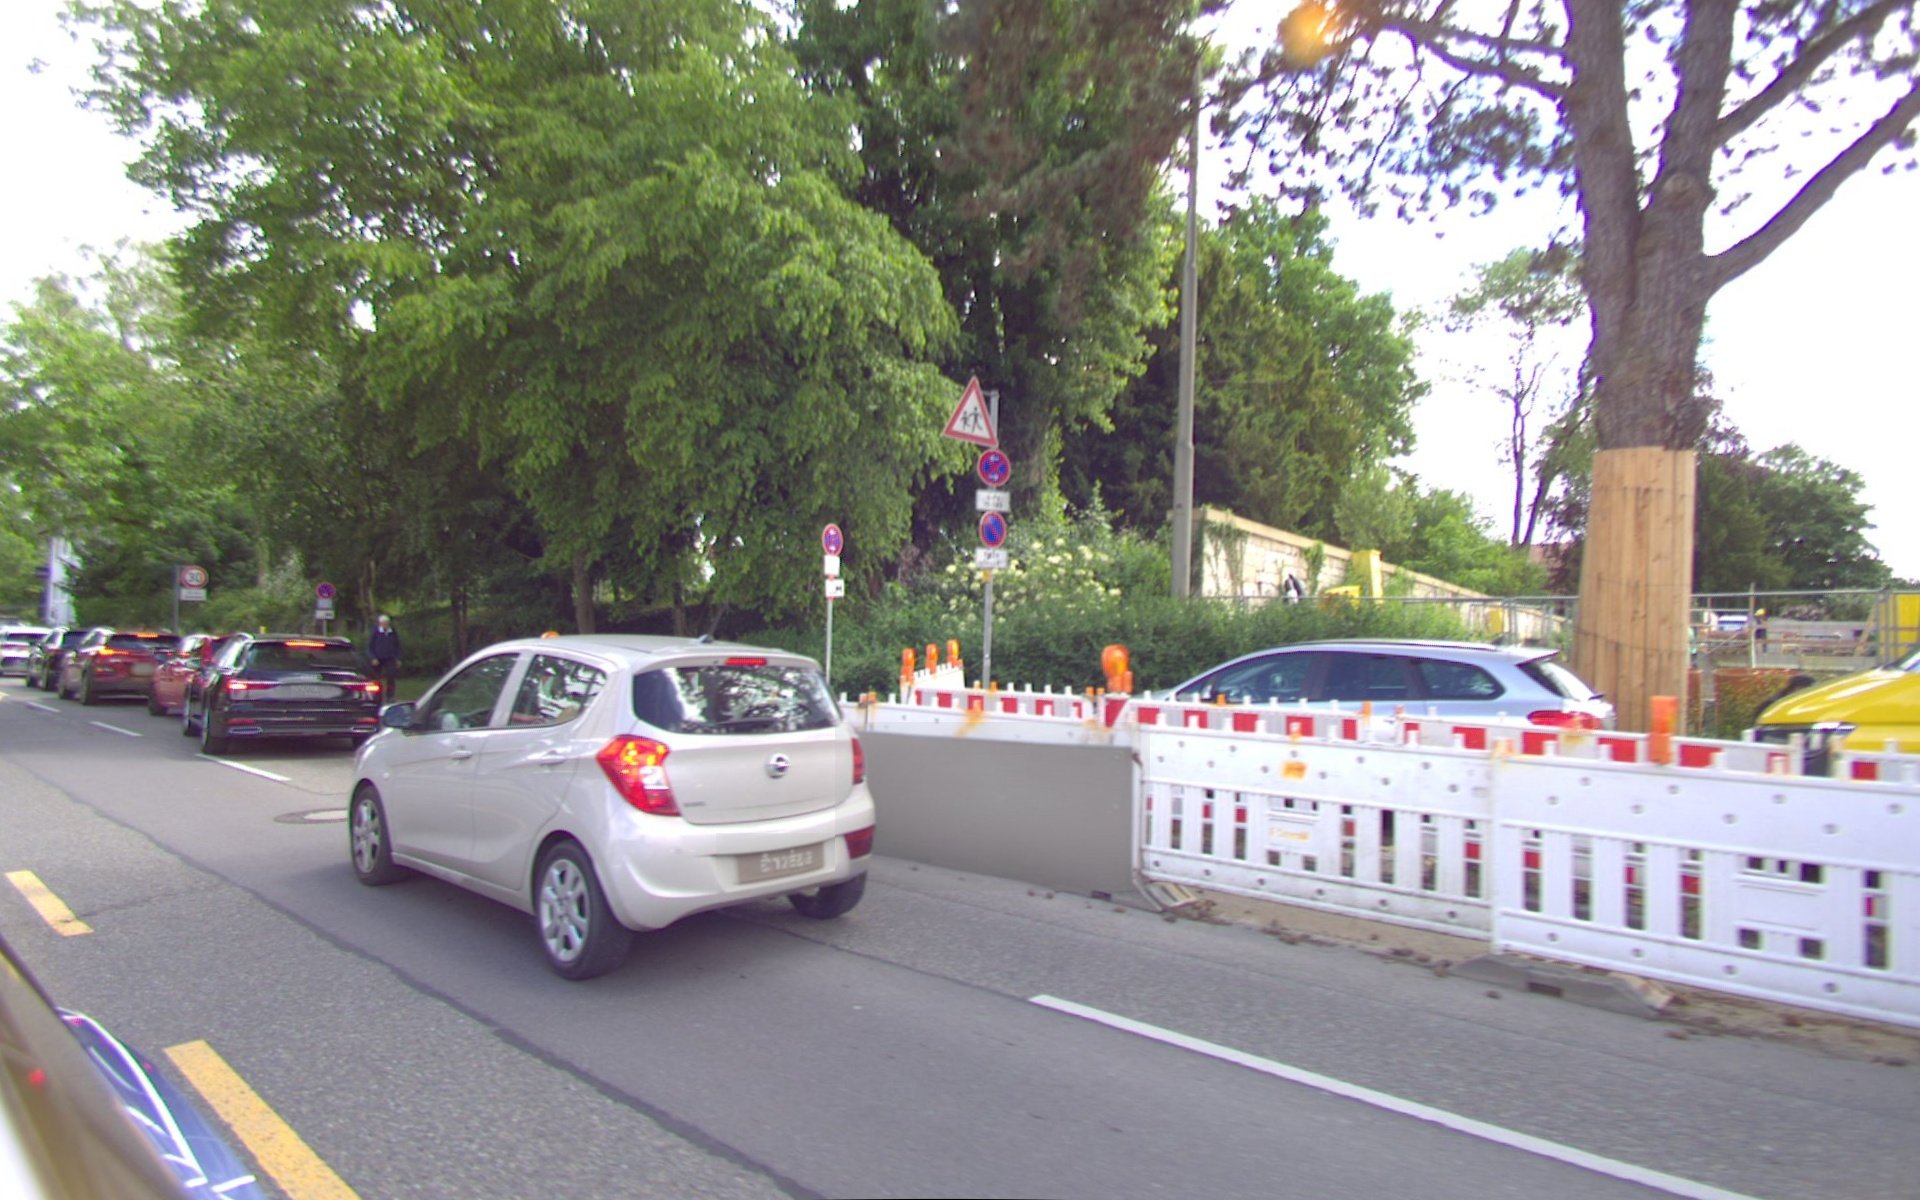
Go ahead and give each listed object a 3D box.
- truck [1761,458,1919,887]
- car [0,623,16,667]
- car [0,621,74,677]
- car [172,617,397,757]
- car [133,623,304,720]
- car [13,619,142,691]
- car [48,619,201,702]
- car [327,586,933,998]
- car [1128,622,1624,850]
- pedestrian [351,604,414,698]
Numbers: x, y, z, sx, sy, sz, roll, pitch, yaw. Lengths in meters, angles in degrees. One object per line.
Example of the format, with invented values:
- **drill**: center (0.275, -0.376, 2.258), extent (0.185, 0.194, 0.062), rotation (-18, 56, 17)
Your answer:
- **truck**: center (7.966, 0.426, 5.085), extent (6.091, 2.438, 2.282), rotation (0, -2, 41)
- **car**: center (-38.227, 1.666, 39.237), extent (4.159, 1.603, 1.739), rotation (0, -5, 40)
- **car**: center (-29.182, 1.491, 31.465), extent (4.000, 1.603, 1.739), rotation (0, -5, 40)
- **car**: center (-9.113, 1.050, 13.483), extent (1.797, 1.535, 4.566), rotation (5, -4, -42)
- **car**: center (-13.154, 1.223, 17.899), extent (3.567, 1.535, 1.598), rotation (-1, -5, 41)
- **car**: center (-21.990, 1.338, 25.182), extent (3.966, 1.603, 1.739), rotation (0, -3, 40)
- **car**: center (-17.585, 1.237, 21.247), extent (3.999, 1.568, 1.757), rotation (-1, -5, 41)
- **car**: center (-1.991, 0.817, 5.607), extent (3.568, 1.535, 1.597), rotation (-3, -5, 42)
- **car**: center (3.382, 0.957, 8.464), extent (3.575, 1.519, 1.609), rotation (-1, -2, 35)
- **pedestrian**: center (-11.764, 1.019, 20.613), extent (1.022, 1.861, 0.824), rotation (-1, -2, 43)
